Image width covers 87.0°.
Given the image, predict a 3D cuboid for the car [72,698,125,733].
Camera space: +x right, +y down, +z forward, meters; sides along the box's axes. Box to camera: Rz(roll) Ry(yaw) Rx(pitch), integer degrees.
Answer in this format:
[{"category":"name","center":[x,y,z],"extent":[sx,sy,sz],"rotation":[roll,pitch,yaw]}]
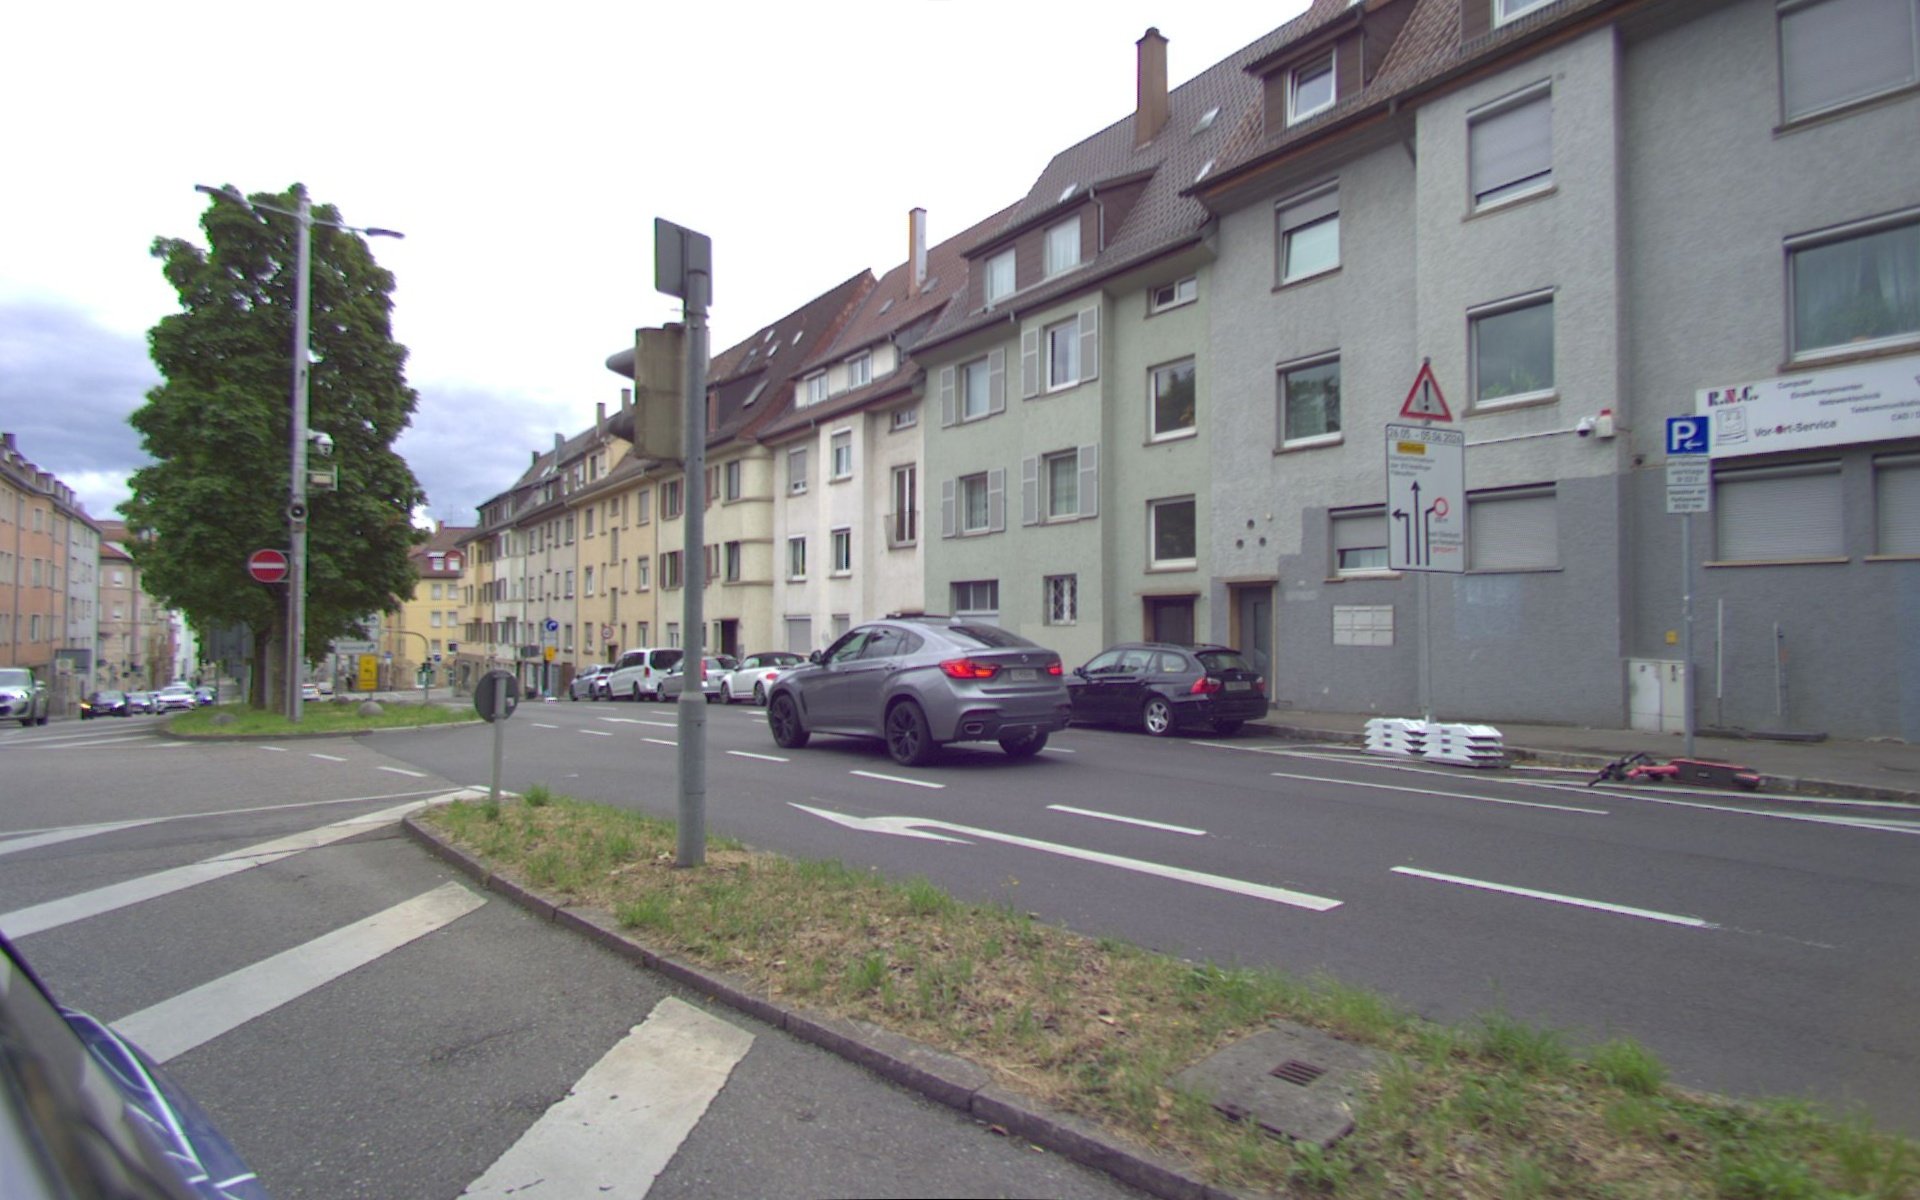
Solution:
[{"category":"car","center":[-43.465,5.805,51.113],"extent":[1.756,1.605,3.541],"rotation":[4,-6,-37]}]

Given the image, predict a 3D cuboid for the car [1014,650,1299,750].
[{"category":"car","center":[3.083,1.605,16.830],"extent":[1.967,1.411,4.528],"rotation":[1,-5,-35]}]

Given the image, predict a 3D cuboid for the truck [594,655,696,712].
[{"category":"truck","center":[-11.763,3.105,37.522],"extent":[1.967,1.935,5.359],"rotation":[2,-5,-36]}]

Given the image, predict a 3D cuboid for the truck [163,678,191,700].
[{"category":"truck","center":[-111.462,12.727,144.098],"extent":[2.512,2.930,7.796],"rotation":[2,-6,-34]}]

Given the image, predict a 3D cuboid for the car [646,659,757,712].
[{"category":"car","center":[-8.441,2.787,32.786],"extent":[1.967,1.564,4.391],"rotation":[2,-5,-36]}]

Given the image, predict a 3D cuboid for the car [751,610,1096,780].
[{"category":"car","center":[-0.705,1.078,12.778],"extent":[1.845,1.712,4.946],"rotation":[2,-3,-37]}]

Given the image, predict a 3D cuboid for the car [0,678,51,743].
[{"category":"car","center":[-26.356,3.077,27.673],"extent":[1.752,1.620,4.172],"rotation":[-2,-4,-36]}]

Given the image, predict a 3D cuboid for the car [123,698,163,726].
[{"category":"car","center":[-50.938,6.957,63.170],"extent":[1.756,1.605,3.541],"rotation":[4,-6,-37]}]

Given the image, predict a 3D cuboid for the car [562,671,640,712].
[{"category":"car","center":[-15.021,3.817,42.203],"extent":[1.967,1.564,4.167],"rotation":[2,-5,-36]}]

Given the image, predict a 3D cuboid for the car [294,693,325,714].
[{"category":"car","center":[-49.208,7.819,76.547],"extent":[1.722,1.478,4.596],"rotation":[1,-5,-36]}]

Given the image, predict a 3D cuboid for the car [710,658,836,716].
[{"category":"car","center":[-5.412,2.490,28.901],"extent":[1.967,1.486,4.168],"rotation":[1,-5,-35]}]

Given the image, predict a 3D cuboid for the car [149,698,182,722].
[{"category":"car","center":[-58.548,8.074,74.637],"extent":[1.756,1.605,3.541],"rotation":[4,-6,-37]}]

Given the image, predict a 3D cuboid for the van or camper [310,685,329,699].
[{"category":"van or camper","center":[-85.549,12.278,135.177],"extent":[1.882,1.775,4.665],"rotation":[1,-5,-35]}]

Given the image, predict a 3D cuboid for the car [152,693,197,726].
[{"category":"car","center":[-41.191,5.725,53.125],"extent":[1.756,1.605,3.541],"rotation":[4,-6,-37]}]

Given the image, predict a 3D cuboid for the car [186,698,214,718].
[{"category":"car","center":[-64.489,9.135,85.895],"extent":[1.756,1.605,3.541],"rotation":[4,-6,-37]}]

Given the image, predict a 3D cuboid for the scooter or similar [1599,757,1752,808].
[{"category":"scooter or similar","center":[6.770,1.706,9.567],"extent":[1.098,0.290,1.112],"rotation":[-2,-4,39]}]
